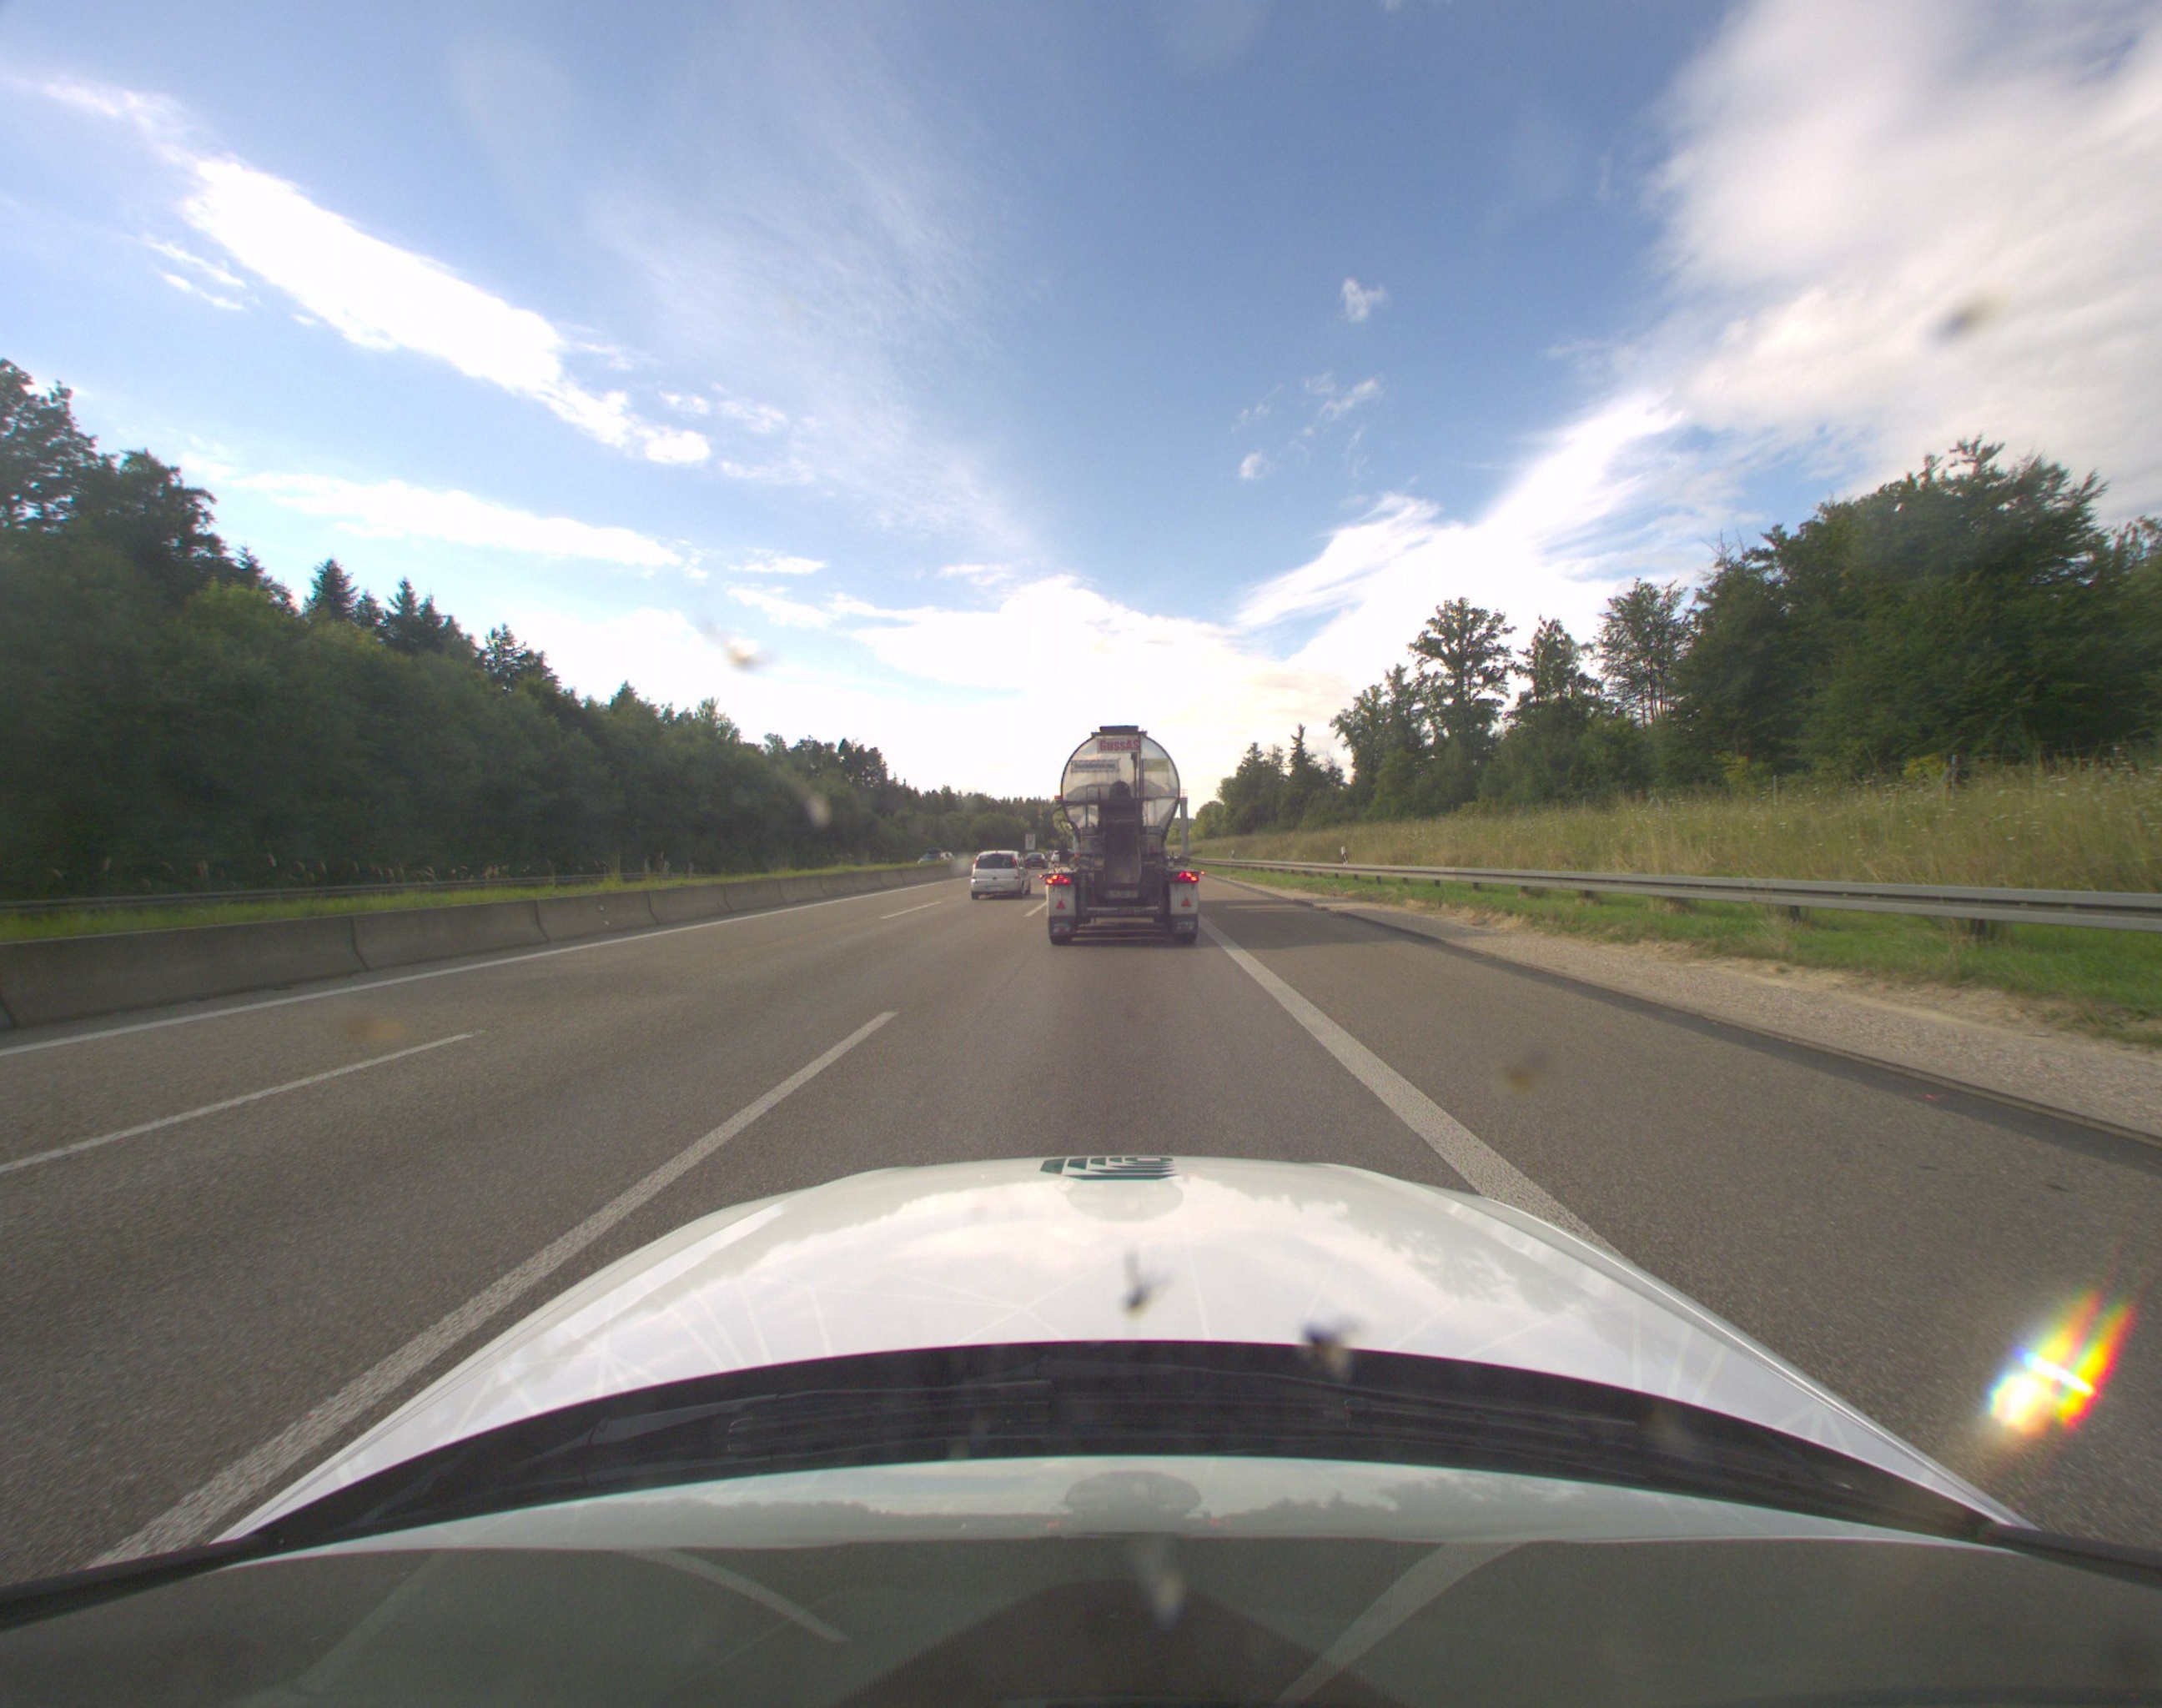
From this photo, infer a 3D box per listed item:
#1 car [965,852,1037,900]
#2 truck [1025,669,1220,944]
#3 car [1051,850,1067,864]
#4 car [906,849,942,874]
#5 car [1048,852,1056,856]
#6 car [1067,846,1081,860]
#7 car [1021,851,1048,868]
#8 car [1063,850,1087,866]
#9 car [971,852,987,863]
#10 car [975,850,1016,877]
[{"bbox_3d":[-2.669,0.694,28.071,1.828,1.517,4.336,-1,0,3],"label":"car"},{"bbox_3d":[0.930,-0.748,18.120,2.900,4.157,11.279,-1,0,3],"label":"truck"},{"bbox_3d":[-2.573,0.328,95.944,1.612,1.544,3.522,-1,0,2],"label":"car"},{"bbox_3d":[-12.754,0.582,66.536,1.986,2.013,4.073,-1,0,2],"label":"car"},{"bbox_3d":[-8.490,-0.046,237.822,1.809,1.290,3.547,-1,0,3],"label":"car"},{"bbox_3d":[-0.936,-0.129,112.811,1.839,1.783,4.002,-1,0,2],"label":"car"},{"bbox_3d":[-4.053,0.486,71.862,1.848,1.431,4.844,-1,0,3],"label":"car"},{"bbox_3d":[-0.559,0.384,81.902,2.051,1.499,5.740,-1,0,3],"label":"car"},{"bbox_3d":[-16.294,0.582,130.498,1.872,1.628,4.572,-1,0,2],"label":"car"},{"bbox_3d":[-5.161,0.558,49.727,1.828,1.517,4.336,-1,0,3],"label":"car"}]
